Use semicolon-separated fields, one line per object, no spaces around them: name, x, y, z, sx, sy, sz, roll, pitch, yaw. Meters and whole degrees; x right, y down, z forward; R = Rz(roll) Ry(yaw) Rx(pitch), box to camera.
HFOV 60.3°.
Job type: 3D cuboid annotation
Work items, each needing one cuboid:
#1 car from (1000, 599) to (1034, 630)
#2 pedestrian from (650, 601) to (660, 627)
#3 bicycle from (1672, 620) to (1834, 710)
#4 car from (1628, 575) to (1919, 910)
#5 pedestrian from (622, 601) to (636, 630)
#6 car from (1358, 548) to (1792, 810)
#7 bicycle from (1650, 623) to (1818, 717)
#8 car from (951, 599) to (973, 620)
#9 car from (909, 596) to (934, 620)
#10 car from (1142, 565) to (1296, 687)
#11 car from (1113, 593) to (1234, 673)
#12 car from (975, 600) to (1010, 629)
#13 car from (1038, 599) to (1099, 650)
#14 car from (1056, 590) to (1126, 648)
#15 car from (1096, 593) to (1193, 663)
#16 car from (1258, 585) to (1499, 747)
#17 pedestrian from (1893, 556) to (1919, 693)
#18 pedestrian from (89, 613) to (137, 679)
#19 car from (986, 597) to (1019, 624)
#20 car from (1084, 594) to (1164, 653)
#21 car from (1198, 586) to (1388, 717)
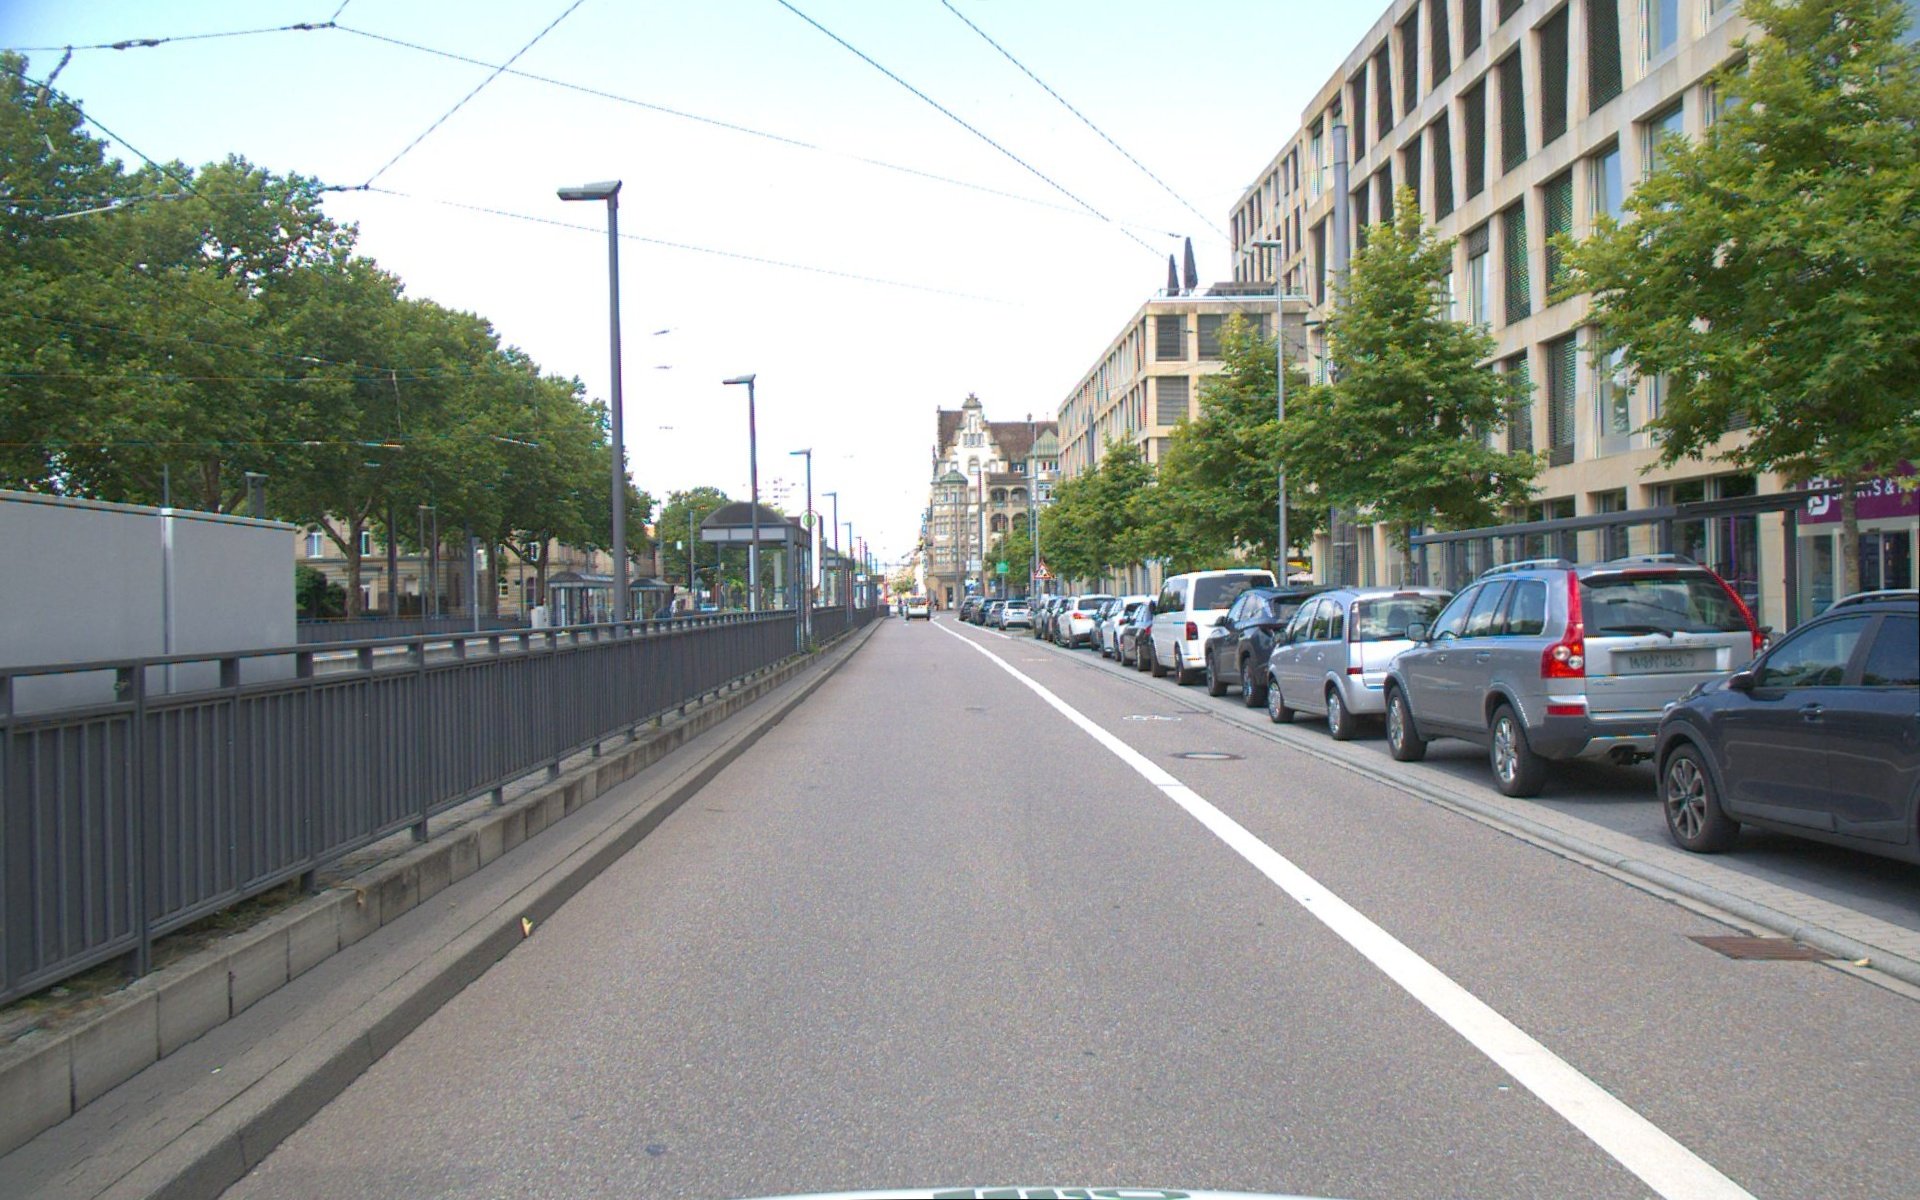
car;2.868;0.735;84.080;1.559;1.485;3.612;0;1;-1
pedestrian;-19.026;0.856;103.097;0.490;1.585;0.643;-2;0;-2
bicycle;9.764;0.801;20.378;1.805;1.075;0.439;1;0;-4
car;5.257;0.648;8.742;1.657;1.531;4.066;-2;0;-2
pedestrian;-17.959;0.844;89.810;0.689;1.539;0.801;-2;0;-11
car;4.956;0.541;14.171;1.733;1.798;4.838;-2;0;-2
bicycle;9.134;0.826;19.529;1.805;1.075;0.439;1;0;-4
car;0.137;0.660;122.155;1.414;1.496;4.089;0;0;-4
car;-2.922;0.566;124.537;1.831;1.777;3.998;-1;0;-3
car;4.690;0.428;30.614;1.844;1.973;4.841;-3;0;-2
car;4.574;0.663;36.082;1.844;1.513;4.562;-3;0;-2
car;1.977;0.853;101.215;1.703;1.698;4.837;0;0;-4
car;3.709;0.812;57.023;1.652;1.575;3.925;-3;0;-2
car;4.030;0.543;51.476;1.652;1.634;4.150;-3;0;-2
car;4.551;0.645;41.367;1.757;1.556;4.157;-3;0;-2
car;4.763;0.678;19.359;1.686;1.648;3.858;-2;0;-2
pedestrian;11.381;0.274;19.131;0.624;1.578;0.905;-2;0;-2
pedestrian;-17.218;0.935;33.632;0.541;1.291;0.768;-2;0;0
car;2.436;0.601;95.399;1.560;1.459;4.104;0;0;-4
car;4.557;0.613;46.383;1.652;1.483;3.949;-3;0;-2
car;4.795;0.674;24.455;1.686;1.669;4.526;-3;0;-2
